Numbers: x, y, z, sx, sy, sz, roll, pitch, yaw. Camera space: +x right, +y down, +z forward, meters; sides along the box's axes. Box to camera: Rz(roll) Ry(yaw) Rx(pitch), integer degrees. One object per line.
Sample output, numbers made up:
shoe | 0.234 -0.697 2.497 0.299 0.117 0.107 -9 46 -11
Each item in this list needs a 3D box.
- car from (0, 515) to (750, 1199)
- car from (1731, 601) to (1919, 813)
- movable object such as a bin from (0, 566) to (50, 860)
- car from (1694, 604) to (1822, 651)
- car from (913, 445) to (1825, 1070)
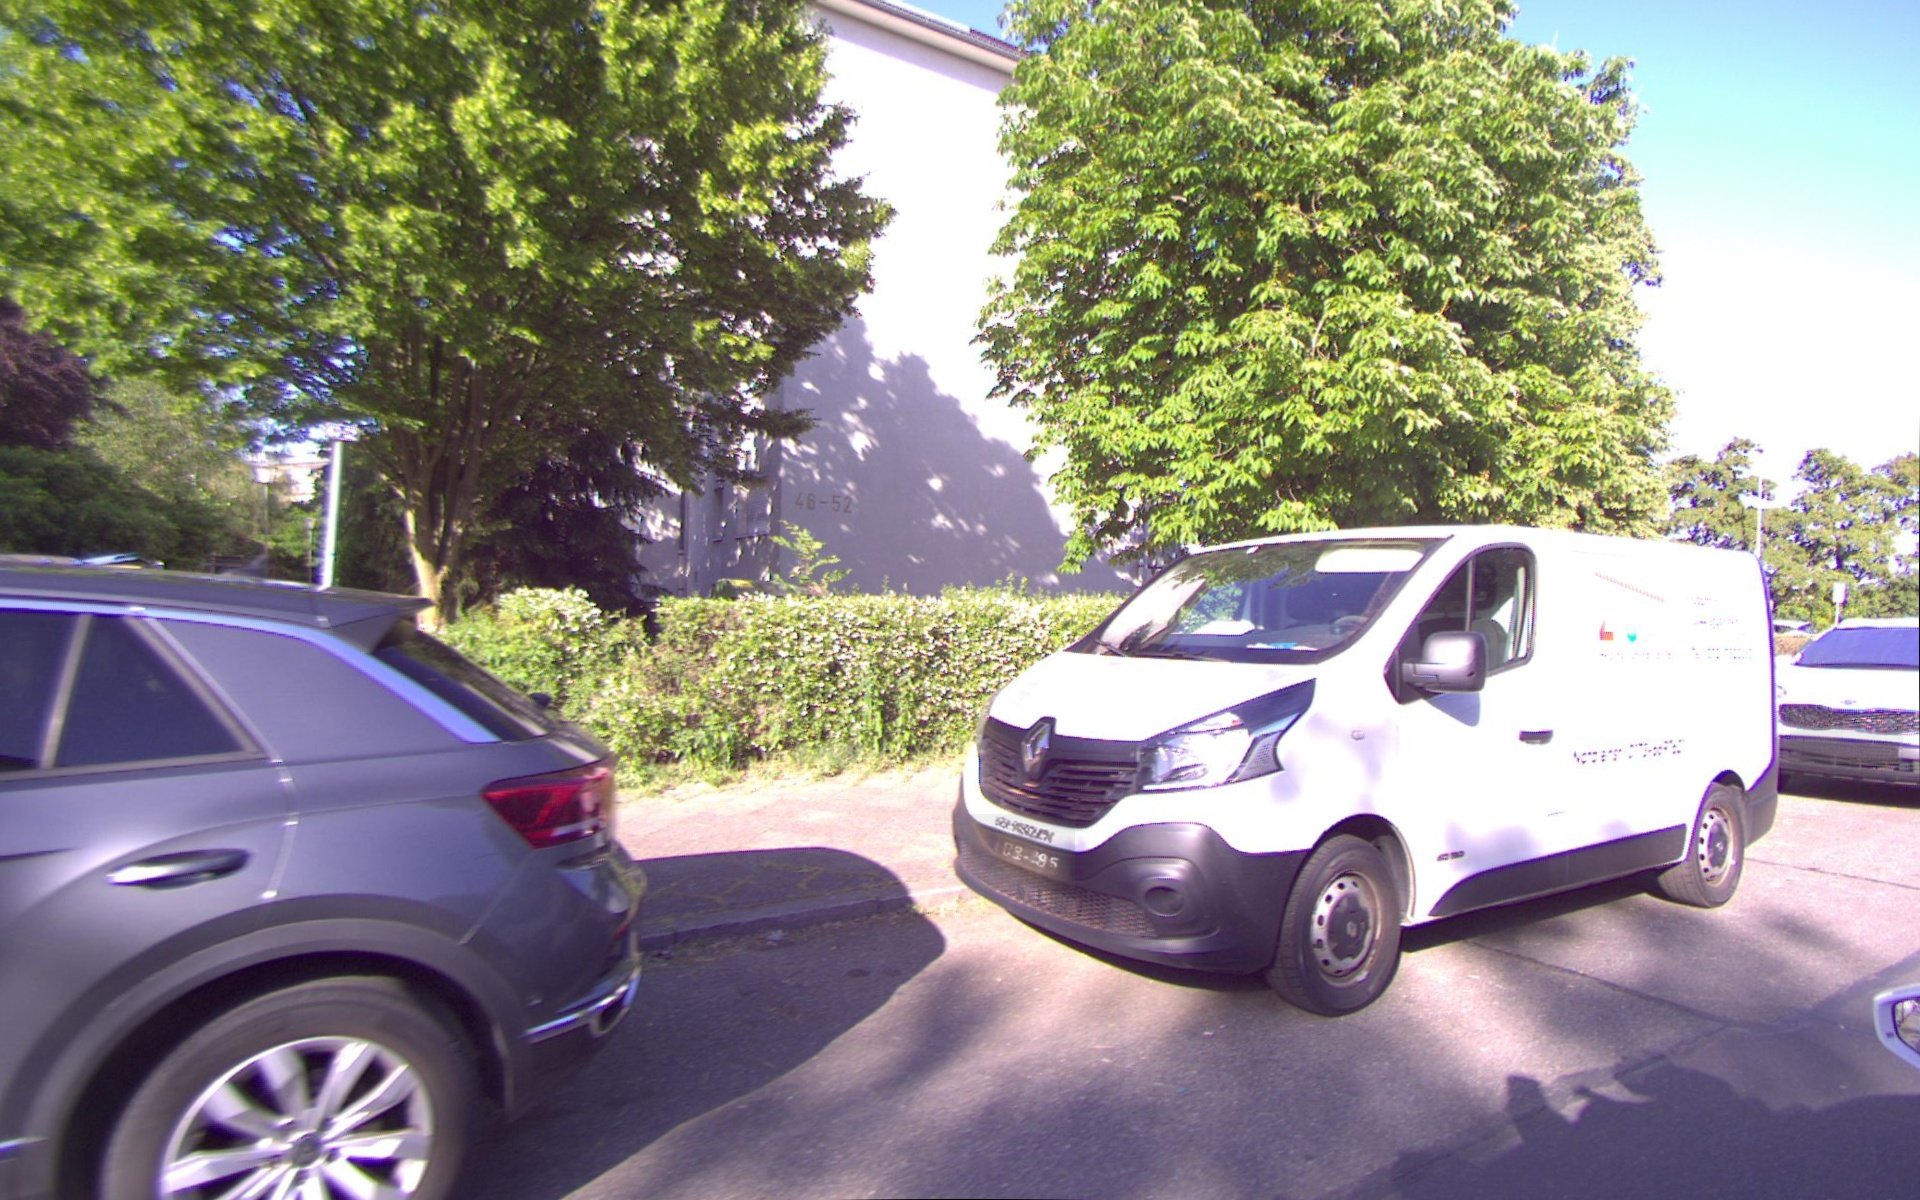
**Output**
car | -2.714 0.615 2.184 4.089 1.554 1.738 1 -1 -30
car | 9.244 0.905 9.606 4.334 1.692 1.735 1 -1 -35
movable object such as a bin | -5.327 0.530 4.731 1.345 1.375 1.095 1 3 -31
car | 30.395 1.018 38.327 1.592 1.582 3.473 1 1 -36
car | 2.410 0.556 5.347 5.030 1.988 1.905 1 -1 -32
